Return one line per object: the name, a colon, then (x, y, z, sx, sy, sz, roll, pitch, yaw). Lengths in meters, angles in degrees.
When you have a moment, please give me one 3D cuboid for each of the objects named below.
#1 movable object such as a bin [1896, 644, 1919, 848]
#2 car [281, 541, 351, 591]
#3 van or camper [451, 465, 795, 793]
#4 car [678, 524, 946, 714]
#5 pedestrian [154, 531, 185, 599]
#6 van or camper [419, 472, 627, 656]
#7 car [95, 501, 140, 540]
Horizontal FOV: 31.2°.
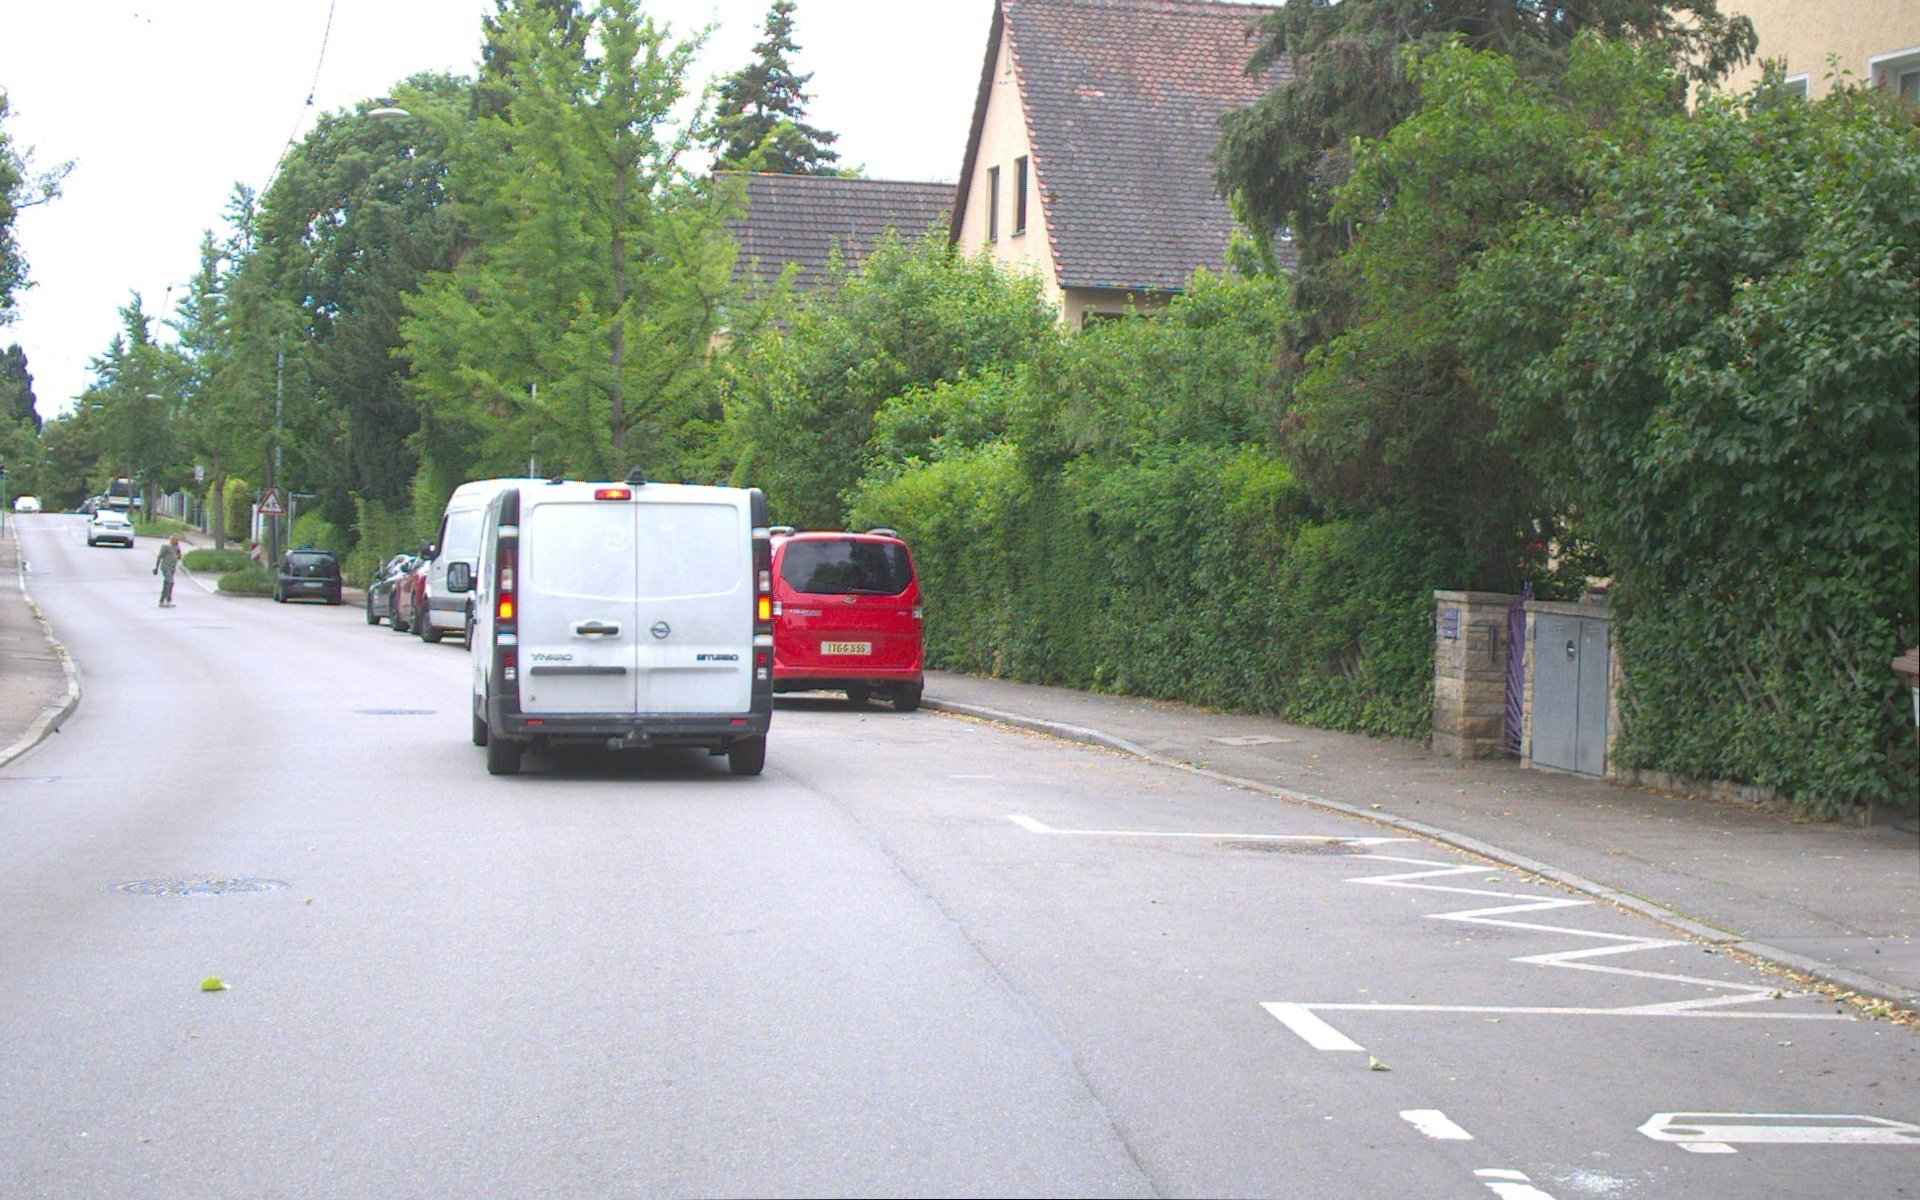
movable object such as a bin: (5.371, 0.781, 18.276, 0.604, 1.066, 0.568, 1, 1, -1)
car: (-17.390, -0.933, 92.744, 1.530, 1.300, 3.229, 0, 1, -17)
van or camper: (-2.498, 0.103, 24.361, 1.923, 2.006, 4.831, 1, 3, -11)
car: (-1.601, 0.132, 35.174, 1.760, 1.791, 4.950, 0, 1, -14)
pedestrian: (-18.456, -0.811, 80.287, 0.555, 1.554, 0.553, 1, 3, 4)
van or camper: (-6.883, -0.577, 53.527, 2.066, 2.665, 6.330, 1, 1, -18)
car: (-38.069, -3.602, 155.301, 1.775, 1.645, 3.646, 0, 3, -17)
